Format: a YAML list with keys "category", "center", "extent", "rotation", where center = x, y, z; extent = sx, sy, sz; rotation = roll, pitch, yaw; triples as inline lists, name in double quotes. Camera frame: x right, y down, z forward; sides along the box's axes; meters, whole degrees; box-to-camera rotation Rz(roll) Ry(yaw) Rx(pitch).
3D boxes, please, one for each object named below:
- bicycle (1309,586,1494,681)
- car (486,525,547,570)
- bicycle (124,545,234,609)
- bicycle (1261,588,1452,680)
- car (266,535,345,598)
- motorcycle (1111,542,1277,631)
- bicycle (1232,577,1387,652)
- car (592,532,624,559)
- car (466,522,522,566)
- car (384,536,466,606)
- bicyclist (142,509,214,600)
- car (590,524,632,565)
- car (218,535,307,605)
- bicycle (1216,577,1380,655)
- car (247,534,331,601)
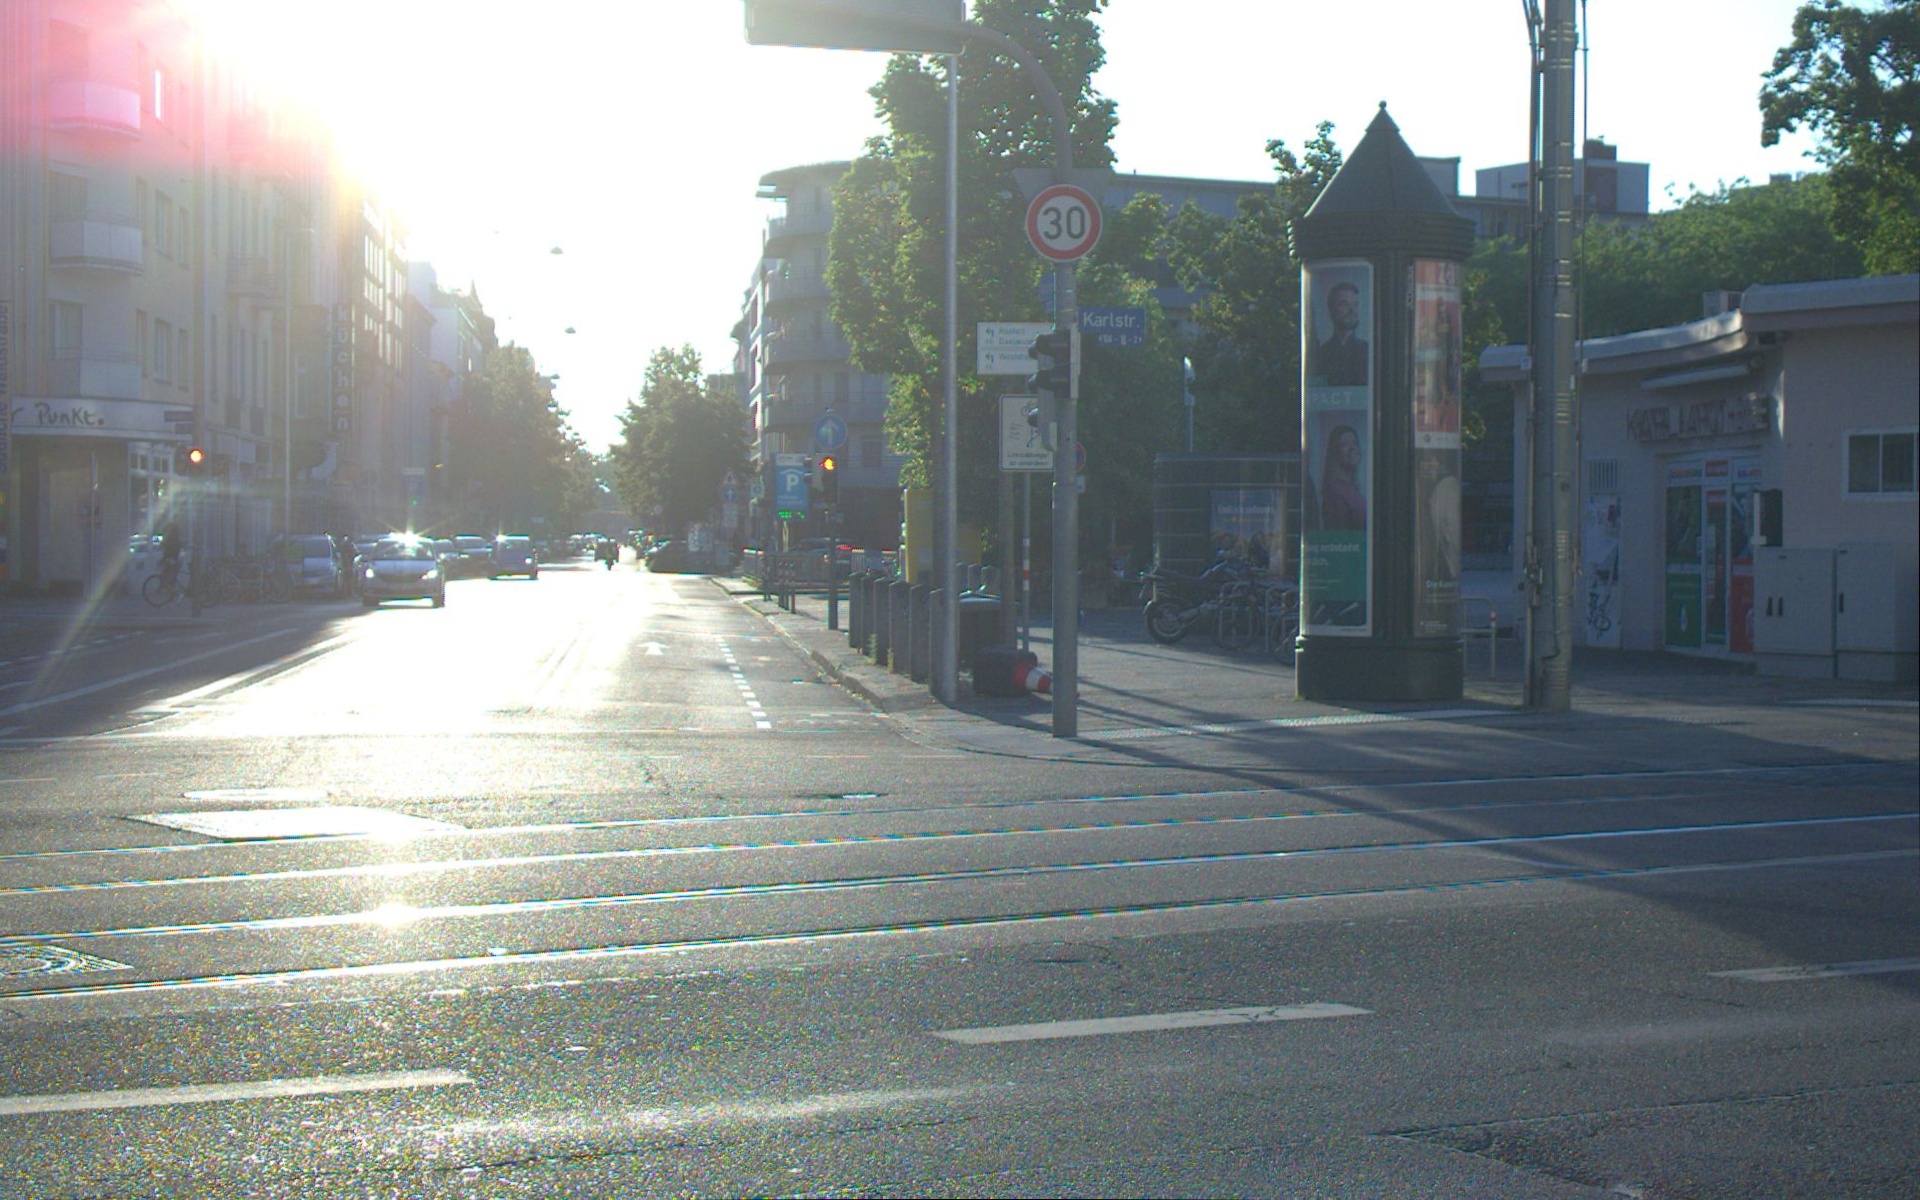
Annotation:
- category: "bicycle"
  center: [4.954, 0.377, 38.626]
  extent: [2.020, 1.041, 0.560]
  rotation: [0, 0, 3]
- category: "car"
  center: [-16.796, -2.005, 130.249]
  extent: [1.993, 1.678, 4.001]
  rotation: [0, 1, -3]
- category: "bicycle"
  center: [-15.616, -0.458, 68.742]
  extent: [2.119, 1.200, 0.500]
  rotation: [2, 0, 14]
- category: "bicycle"
  center: [4.564, 0.386, 39.642]
  extent: [2.147, 1.040, 0.560]
  rotation: [0, 0, 3]
- category: "car"
  center: [-15.874, -0.804, 83.492]
  extent: [1.544, 1.464, 3.352]
  rotation: [1, 0, -6]
- category: "motorcycle"
  center: [3.221, -0.187, 47.456]
  extent: [2.234, 1.197, 0.720]
  rotation: [0, 1, 1]
- category: "bicycle"
  center: [4.663, 0.189, 45.963]
  extent: [2.038, 0.973, 0.560]
  rotation: [0, 0, 3]
- category: "car"
  center: [-25.166, -3.899, 245.985]
  extent: [1.993, 1.809, 4.000]
  rotation: [2, 0, -3]
- category: "car"
  center: [-19.206, -2.303, 141.843]
  extent: [1.993, 1.674, 4.001]
  rotation: [2, 0, -4]
- category: "car"
  center: [-11.552, -0.616, 74.388]
  extent: [1.544, 1.463, 3.352]
  rotation: [1, 0, -6]
- category: "bicyclist"
  center: [-15.635, -0.908, 68.761]
  extent: [1.130, 1.784, 0.764]
  rotation: [2, 0, 14]
- category: "car"
  center: [-17.870, -2.821, 176.311]
  extent: [1.993, 2.007, 4.001]
  rotation: [2, 0, -5]
- category: "car"
  center: [-15.176, -0.671, 74.898]
  extent: [1.544, 1.478, 3.353]
  rotation: [0, 1, -6]
- category: "bicycle"
  center: [4.355, 0.204, 44.359]
  extent: [2.078, 0.979, 0.560]
  rotation: [0, 0, 3]
- category: "car"
  center: [-15.307, -0.732, 78.543]
  extent: [1.544, 1.464, 3.352]
  rotation: [1, 0, -6]
